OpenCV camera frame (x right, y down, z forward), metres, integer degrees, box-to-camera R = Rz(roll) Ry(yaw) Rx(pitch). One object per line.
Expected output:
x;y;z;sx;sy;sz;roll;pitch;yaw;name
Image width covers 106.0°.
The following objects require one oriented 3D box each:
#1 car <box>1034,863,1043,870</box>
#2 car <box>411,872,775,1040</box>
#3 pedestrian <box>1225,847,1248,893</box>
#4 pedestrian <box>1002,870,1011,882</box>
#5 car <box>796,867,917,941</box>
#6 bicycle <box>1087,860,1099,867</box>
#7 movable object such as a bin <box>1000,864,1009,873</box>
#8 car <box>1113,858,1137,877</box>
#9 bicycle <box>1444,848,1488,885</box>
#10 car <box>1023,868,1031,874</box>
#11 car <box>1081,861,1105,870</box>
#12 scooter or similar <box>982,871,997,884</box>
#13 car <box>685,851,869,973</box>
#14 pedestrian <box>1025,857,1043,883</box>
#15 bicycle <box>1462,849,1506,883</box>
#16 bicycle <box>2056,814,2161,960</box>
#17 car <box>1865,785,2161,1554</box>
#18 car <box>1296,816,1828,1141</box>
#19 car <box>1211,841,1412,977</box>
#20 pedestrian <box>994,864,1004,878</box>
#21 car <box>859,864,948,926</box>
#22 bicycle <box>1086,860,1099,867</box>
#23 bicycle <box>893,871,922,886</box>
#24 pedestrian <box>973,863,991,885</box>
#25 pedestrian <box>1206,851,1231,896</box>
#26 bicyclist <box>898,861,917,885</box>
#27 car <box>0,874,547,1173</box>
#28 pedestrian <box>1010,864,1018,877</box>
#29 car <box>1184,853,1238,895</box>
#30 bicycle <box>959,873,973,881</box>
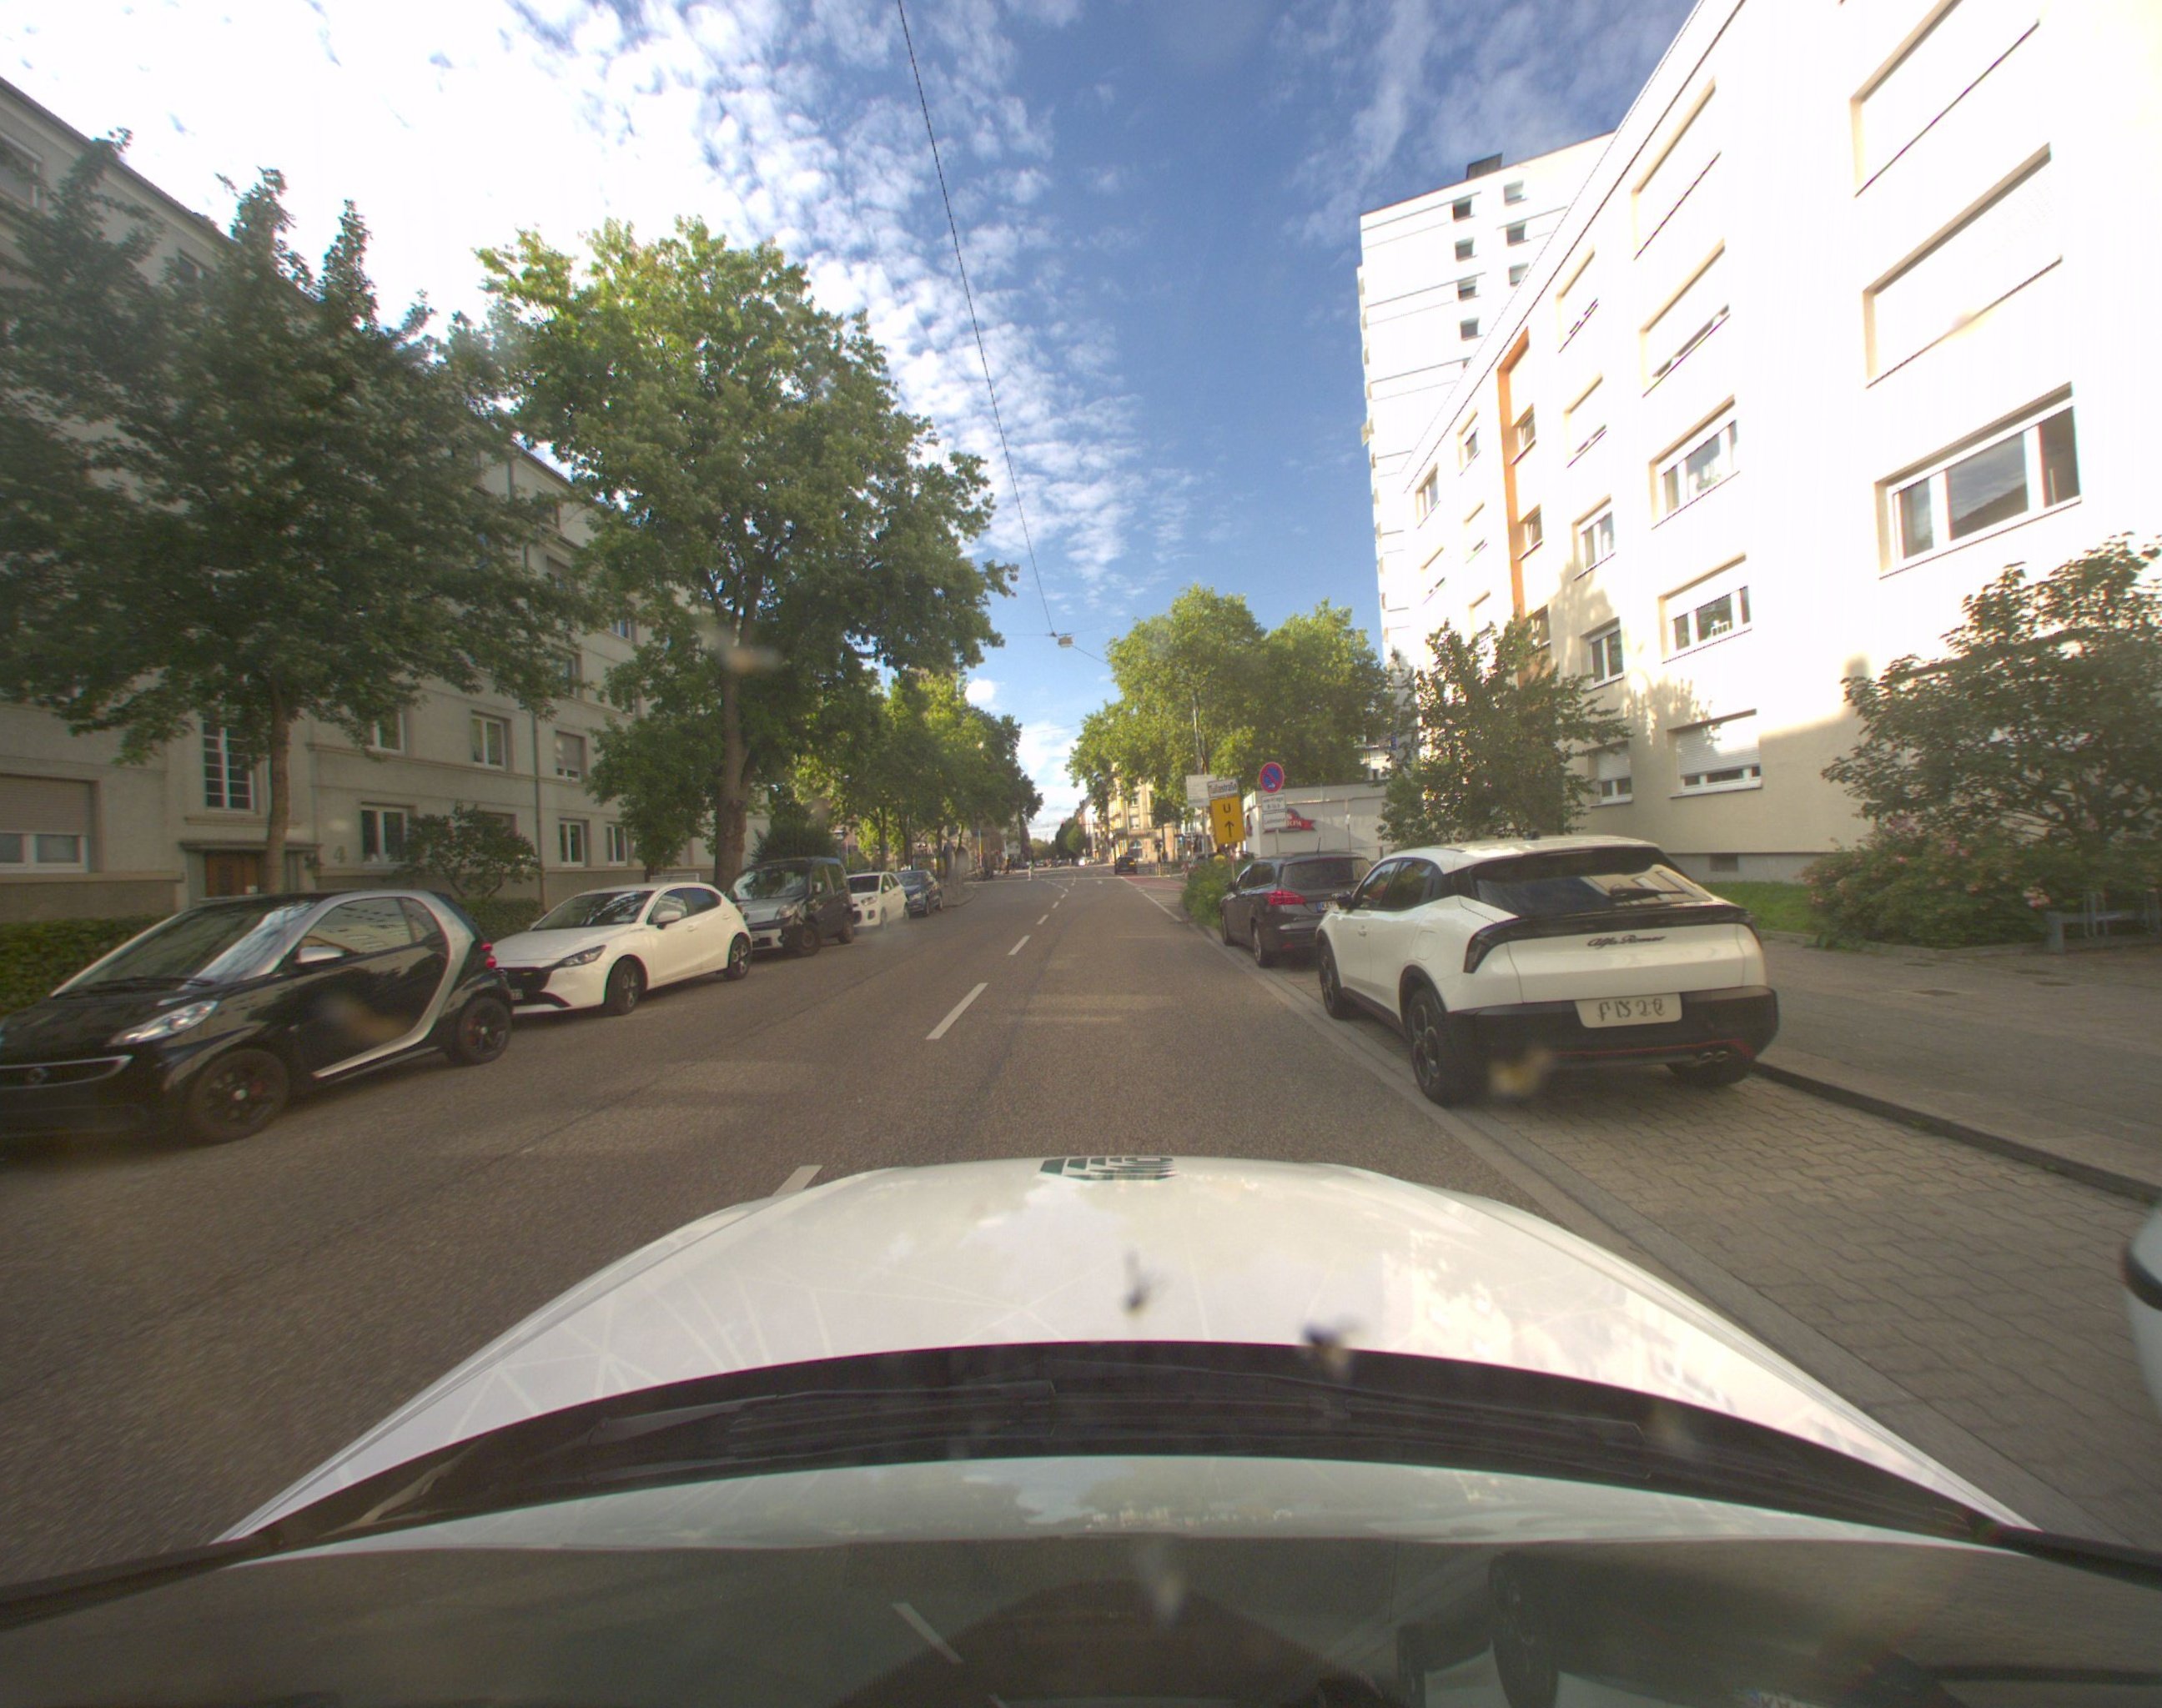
-11.842;3.500;226.623;1.986;2.013;4.001;-3;0;1;car
-5.808;1.092;10.474;1.686;1.493;4.338;-5;0;5;car
5.734;0.590;29.991;0.650;1.645;0.743;-3;-1;1;pedestrian
-9.412;2.836;103.083;0.774;1.432;0.735;-4;-1;24;pedestrian
-5.640;1.203;20.964;1.792;1.493;3.805;-6;0;2;car
2.118;1.729;145.126;2.024;1.082;0.628;-4;0;-12;bicycle
-9.835;1.880;104.611;0.830;1.123;0.578;-3;-1;21;movable object such as a bin
3.472;1.066;65.048;1.746;1.413;4.000;-3;0;1;car
11.558;0.381;24.496;0.520;1.056;1.552;-3;-1;-1;bicycle
-11.945;3.798;179.846;1.545;1.230;3.587;-3;0;0;car
2.159;2.074;146.958;3.982;1.420;1.996;-4;-1;-6;car
-7.276;1.868;64.816;0.798;0.923;1.020;-4;-1;23;scooter or similar
-5.602;0.975;15.632;1.717;1.882;4.192;-5;0;1;car
-3.296;1.100;57.017;1.076;1.753;0.914;-2;-1;-15;pedestrian
12.109;0.348;24.498;0.476;0.964;1.552;-3;-1;-1;bicycle
9.256;0.263;6.339;0.595;1.186;2.210;-6;-1;2;bicycle
2.918;0.583;0.438;1.546;1.557;3.467;-5;0;0;car
2.932;0.632;6.164;1.682;1.528;4.242;-3;0;4;car
3.129;0.676;12.001;1.684;1.528;4.237;-4;0;0;car
-10.573;2.159;104.881;0.807;1.628;0.608;-7;0;22;pedestrian
-5.468;1.205;25.539;1.794;1.620;3.802;-6;0;0;car
2.050;1.755;144.467;2.024;1.082;0.617;-4;0;-12;bicycle
-12.723;1.790;59.743;1.909;0.994;0.765;-2;-1;8;bicycle
-7.759;1.582;63.850;0.806;1.654;1.082;-4;-1;23;pedestrian
4.916;0.683;29.190;0.650;1.538;0.743;-5;-1;1;pedestrian
-12.738;1.369;59.699;1.104;1.691;0.816;-2;-1;6;bicyclist
-5.873;1.018;6.086;1.547;1.520;3.018;-6;0;3;car
-8.647;2.122;105.064;0.774;1.662;0.782;-4;-1;20;pedestrian
5.126;0.762;32.572;1.753;1.411;4.238;-5;-1;5;car
-15.748;3.138;111.802;1.813;0.955;0.576;-4;-1;24;bicycle
